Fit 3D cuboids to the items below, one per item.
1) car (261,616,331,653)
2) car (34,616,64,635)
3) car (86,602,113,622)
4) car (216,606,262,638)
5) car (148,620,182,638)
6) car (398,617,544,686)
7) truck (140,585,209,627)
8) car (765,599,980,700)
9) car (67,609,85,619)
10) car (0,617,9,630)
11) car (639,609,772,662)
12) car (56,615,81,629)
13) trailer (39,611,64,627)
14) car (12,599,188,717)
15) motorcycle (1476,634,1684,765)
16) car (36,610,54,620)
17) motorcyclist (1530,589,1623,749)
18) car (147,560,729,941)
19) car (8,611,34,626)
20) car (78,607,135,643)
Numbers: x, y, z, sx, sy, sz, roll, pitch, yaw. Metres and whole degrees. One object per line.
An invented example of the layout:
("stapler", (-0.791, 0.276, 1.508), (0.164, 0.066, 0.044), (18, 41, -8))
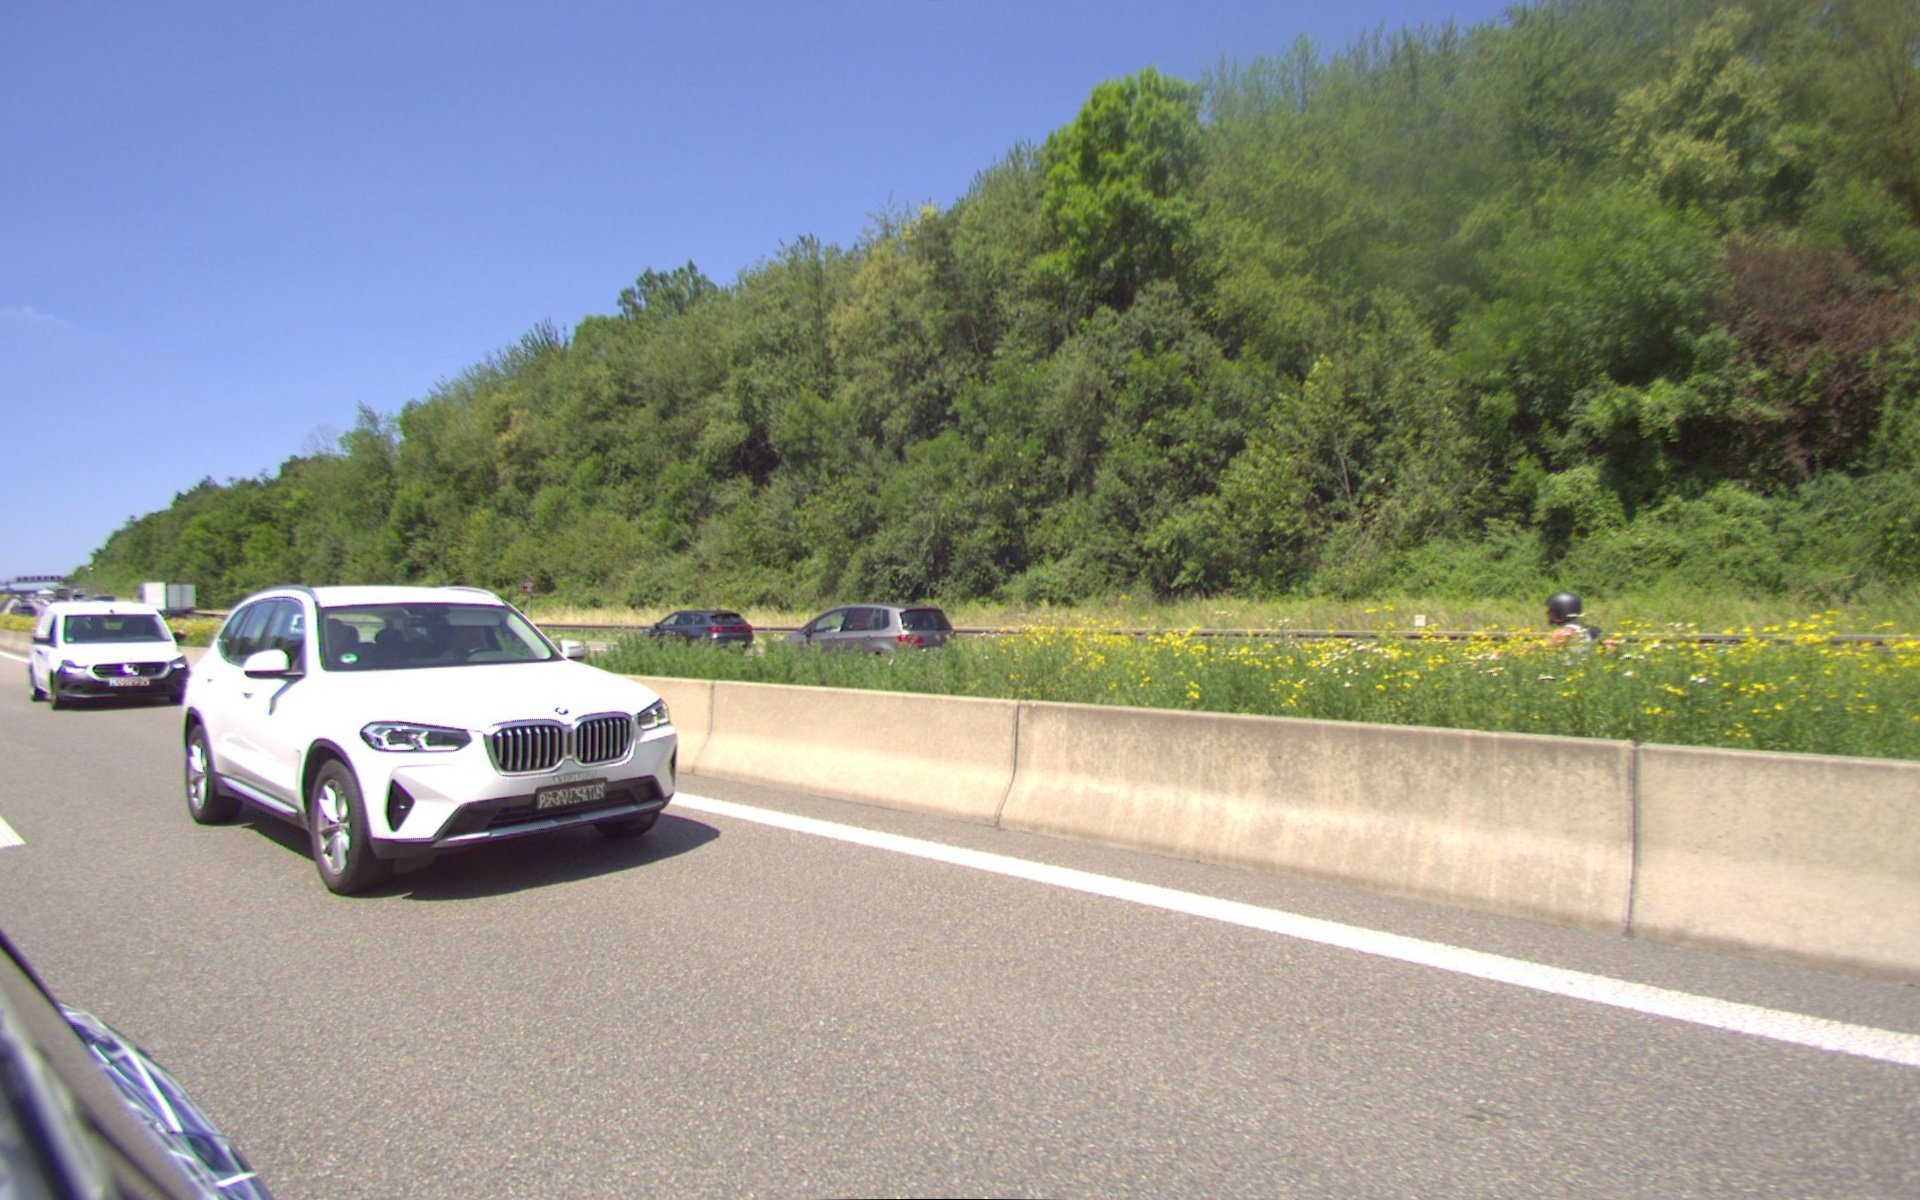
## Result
("car", (-29.272, 1.501, 44.580), (3.826, 1.519, 1.654), (-1, -1, 41))
("car", (-76.999, 2.127, 85.501), (3.359, 1.520, 1.581), (-1, 0, 42))
("car", (-105.174, 1.450, 123.655), (3.999, 2.448, 1.972), (-1, 0, 42))
("car", (-47.453, 1.430, 66.574), (3.998, 2.029, 1.616), (-1, 0, 41))
("car", (-67.702, 2.465, 86.161), (3.506, 1.399, 1.598), (-2, -1, 41))
("car", (-11.956, 1.208, 24.643), (3.997, 1.521, 1.743), (-1, -1, 40))
("truck", (-83.547, 0.659, 107.526), (13.794, 4.226, 3.669), (-1, 0, 43))
("car", (-1.764, 0.902, 19.740), (3.998, 1.741, 1.973), (-1, -1, 42))
("car", (-151.953, 2.413, 173.959), (3.999, 1.698, 1.972), (-1, 0, 42))
("car", (-132.648, 3.197, 139.492), (3.999, 1.698, 1.972), (-1, 0, 42))
("car", (-7.777, 1.073, 30.785), (3.997, 1.519, 1.973), (-2, -2, 40))
("car", (-90.892, 2.192, 103.166), (3.360, 1.394, 1.581), (-1, 0, 43))
("trailer", (-116.104, 2.440, 129.328), (3.999, 2.029, 1.972), (-1, 0, 42))
("car", (-15.358, 0.961, 17.980), (4.672, 1.826, 1.746), (-2, -1, 42))
("motorcycle", (5.449, 0.830, 8.939), (1.466, 1.041, 0.617), (-1, -1, 41))
("car", (-156.577, 2.554, 173.176), (3.999, 1.698, 1.972), (-1, 0, 42))
("motorcyclist", (5.448, 0.583, 8.945), (0.577, 1.344, 0.616), (-2, -1, 42))
("car", (-3.823, 0.730, 6.883), (4.953, 1.707, 1.844), (-2, -1, 41))
("car", (-109.286, 2.157, 117.767), (3.999, 1.680, 1.897), (-1, 0, 42))
("car", (-50.349, 1.457, 59.686), (4.899, 2.029, 1.972), (-1, 0, 42))
